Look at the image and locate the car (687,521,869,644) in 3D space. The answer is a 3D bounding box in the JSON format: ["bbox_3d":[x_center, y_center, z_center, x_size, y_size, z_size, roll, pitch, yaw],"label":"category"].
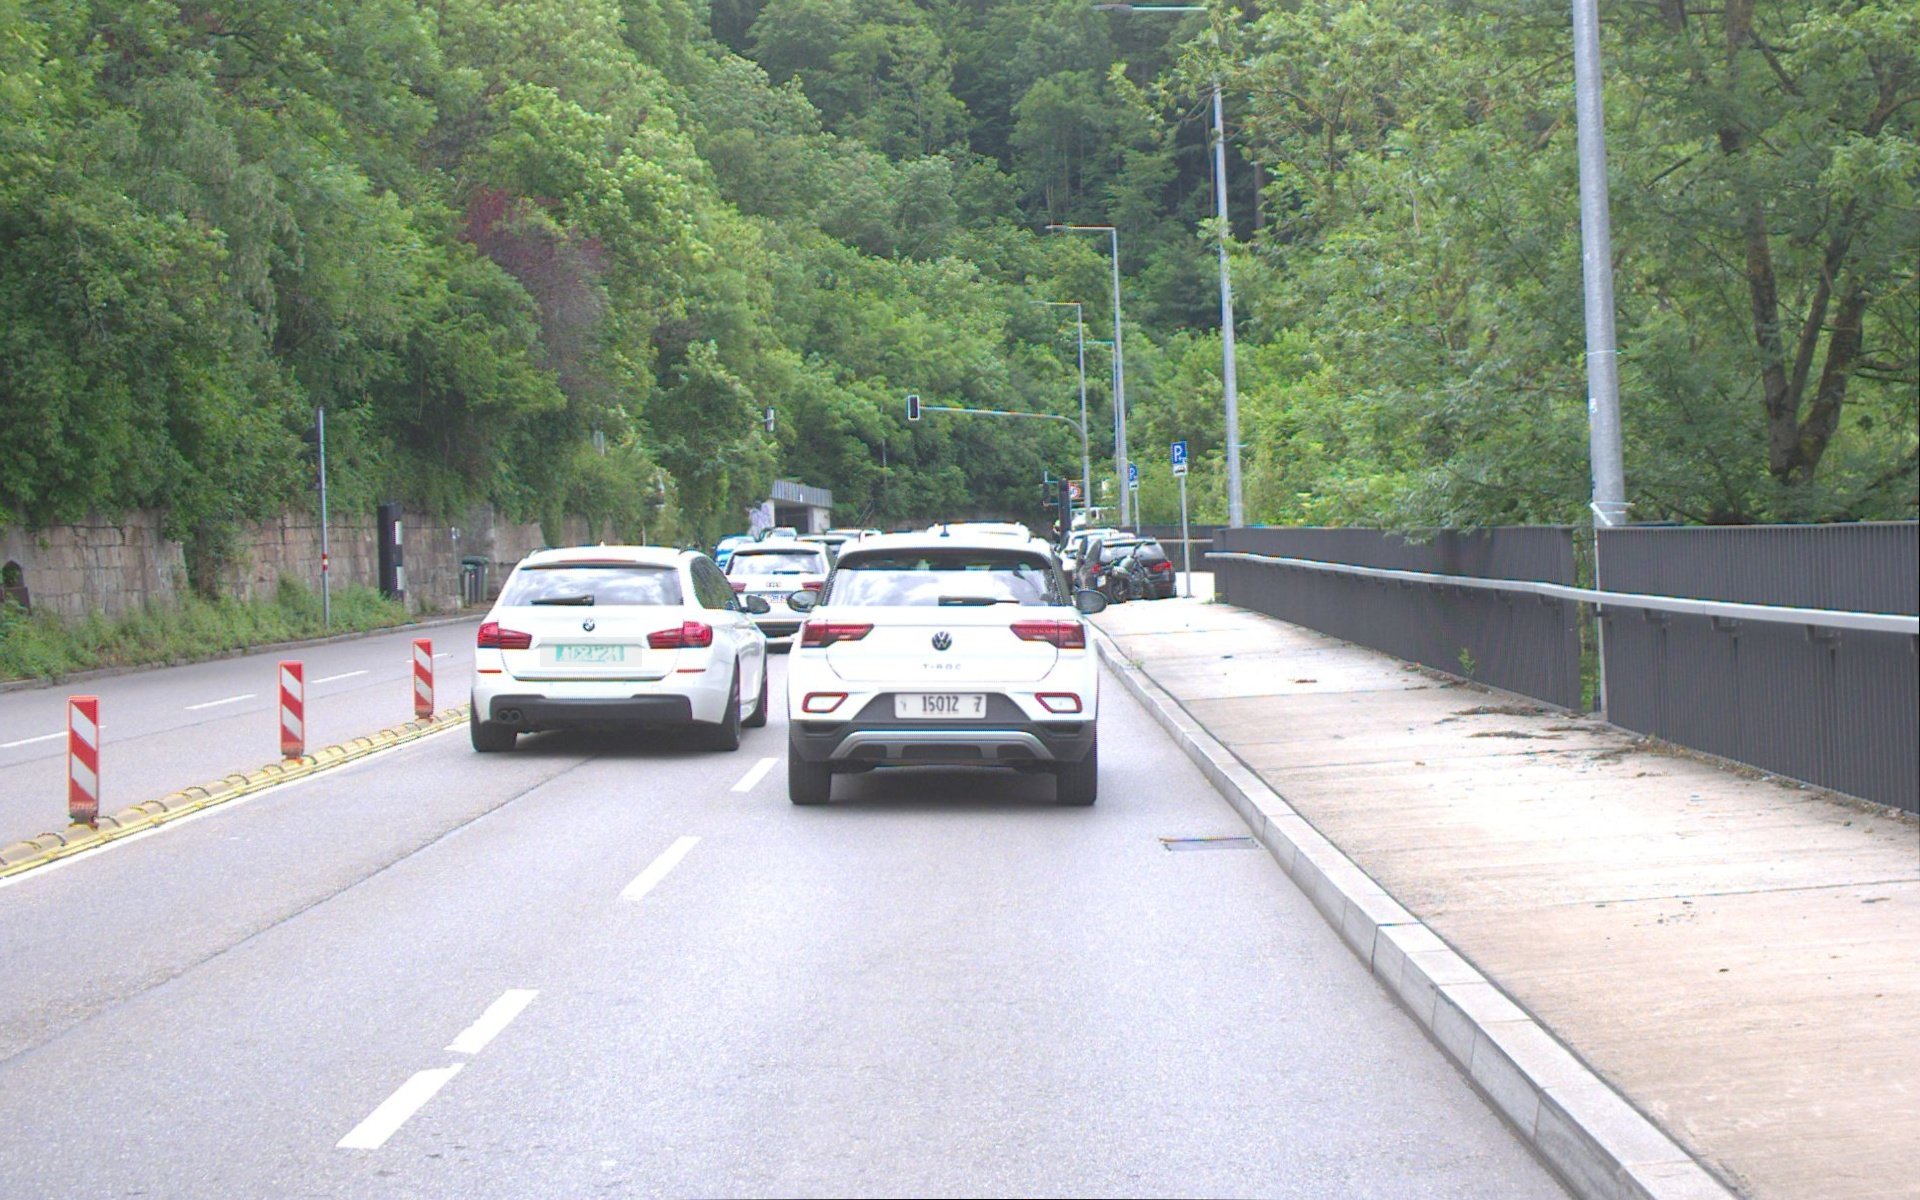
[{"bbox_3d":[-2.411,-0.280,46.625,1.994,1.498,4.667,1,2,3],"label":"car"}]

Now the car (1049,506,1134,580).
[{"bbox_3d":[3.234,-1.439,85.154,1.993,1.712,4.114,0,3,1],"label":"car"}]

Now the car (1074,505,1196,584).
[{"bbox_3d":[3.392,-1.090,67.260,1.814,1.503,4.001,0,1,-6],"label":"car"}]

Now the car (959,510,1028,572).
[{"bbox_3d":[1.017,-1.847,107.680,1.993,1.853,4.000,2,1,-1],"label":"car"}]

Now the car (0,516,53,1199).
[{"bbox_3d":[-2.917,0.641,5.315,1.821,1.575,4.356,0,1,1],"label":"car"}]

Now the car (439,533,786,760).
[{"bbox_3d":[-2.459,0.274,25.449,1.828,1.454,4.485,-2,1,3],"label":"car"}]

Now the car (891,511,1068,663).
[{"bbox_3d":[0.288,-0.206,41.636,1.994,1.712,4.114,0,2,2],"label":"car"}]

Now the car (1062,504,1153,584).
[{"bbox_3d":[3.389,-1.320,79.752,1.993,1.712,4.114,0,3,1],"label":"car"}]

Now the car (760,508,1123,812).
[{"bbox_3d":[-0.011,0.276,20.796,1.828,1.600,4.000,2,2,4],"label":"car"}]

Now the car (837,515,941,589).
[{"bbox_3d":[-1.552,-1.093,76.699,1.994,1.498,4.668,-1,2,2],"label":"car"}]
